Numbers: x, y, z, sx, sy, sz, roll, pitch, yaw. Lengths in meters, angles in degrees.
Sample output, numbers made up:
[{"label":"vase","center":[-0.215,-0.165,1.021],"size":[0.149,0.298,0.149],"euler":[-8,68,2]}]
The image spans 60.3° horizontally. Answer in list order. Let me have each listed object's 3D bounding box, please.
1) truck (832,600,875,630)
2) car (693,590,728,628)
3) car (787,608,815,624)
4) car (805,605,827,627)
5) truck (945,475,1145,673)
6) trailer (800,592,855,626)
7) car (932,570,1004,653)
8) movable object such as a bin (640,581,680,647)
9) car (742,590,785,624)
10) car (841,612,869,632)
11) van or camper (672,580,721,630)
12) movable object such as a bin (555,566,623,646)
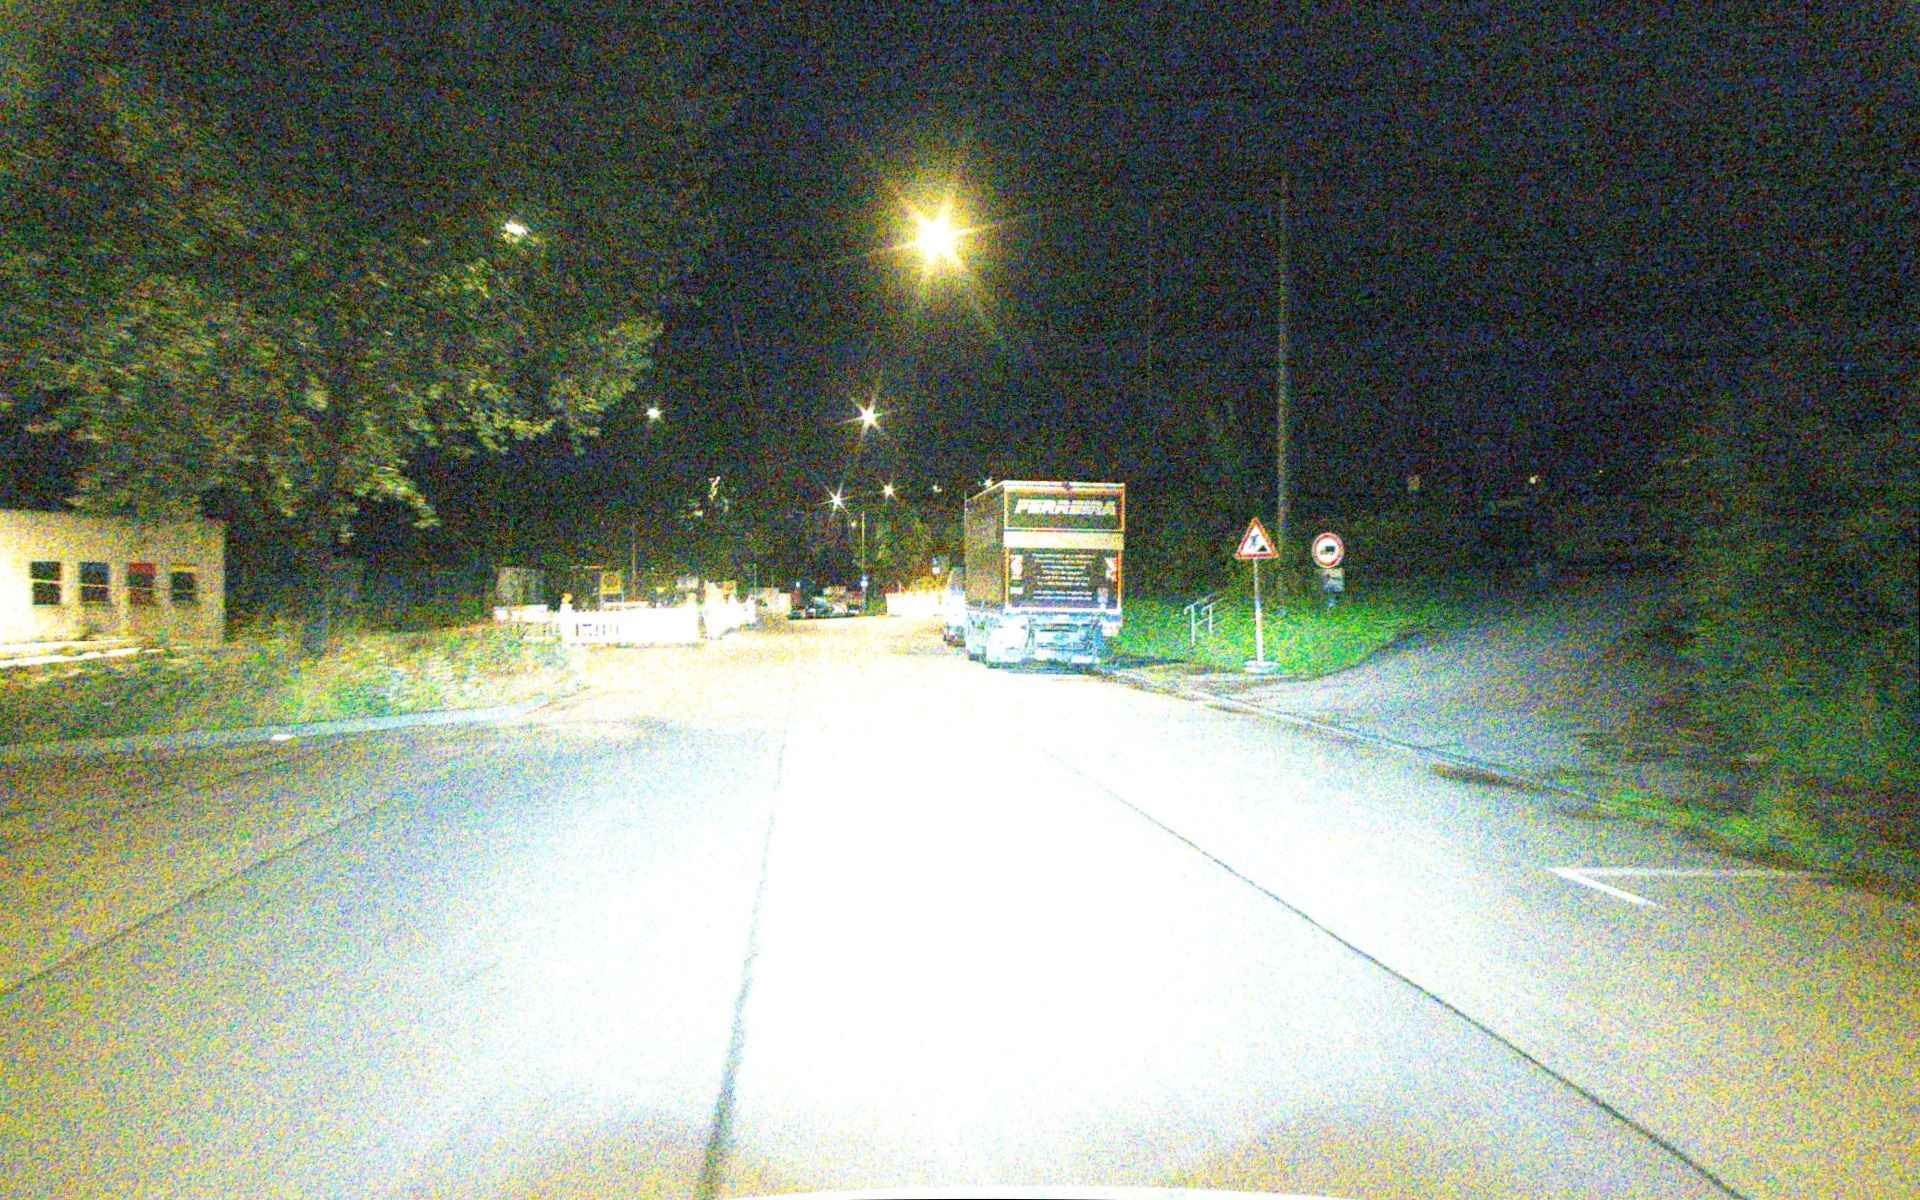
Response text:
[{"label":"truck","center":[-12.827,1.793,200.182],"size":[1.952,3.463,8.983],"euler":[1,0,18]},{"label":"car","center":[-20.336,0.732,134.952],"size":[2.471,2.978,7.191],"euler":[-2,0,-6]},{"label":"car","center":[-17.449,1.803,181.766],"size":[1.951,1.729,4.209],"euler":[0,-1,10]},{"label":"car","center":[-11.219,1.254,129.204],"size":[1.687,1.690,3.996],"euler":[1,-1,-5]},{"label":"truck","center":[1.677,-0.510,37.992],"size":[3.259,3.936,9.317],"euler":[1,0,-5]},{"label":"trailer","center":[-9.182,0.633,114.614],"size":[1.544,2.198,5.163],"euler":[-1,-1,-32]},{"label":"car","center":[0.209,0.335,55.353],"size":[2.066,2.560,6.368],"euler":[1,0,-3]},{"label":"movable object such as a bin","center":[-13.330,0.580,73.310],"size":[1.543,2.781,3.690],"euler":[-3,1,-12]},{"label":"car","center":[-19.584,0.656,165.396],"size":[2.465,3.227,7.143],"euler":[-2,0,8]},{"label":"car","center":[-10.031,2.156,158.085],"size":[1.684,1.853,4.003],"euler":[1,-1,10]},{"label":"van or camper","center":[-17.597,0.351,110.882],"size":[2.469,3.148,7.439],"euler":[-2,0,-4]},{"label":"movable object such as a bin","center":[-12.109,0.212,53.884],"size":[1.529,2.510,2.816],"euler":[-1,0,-26]}]
